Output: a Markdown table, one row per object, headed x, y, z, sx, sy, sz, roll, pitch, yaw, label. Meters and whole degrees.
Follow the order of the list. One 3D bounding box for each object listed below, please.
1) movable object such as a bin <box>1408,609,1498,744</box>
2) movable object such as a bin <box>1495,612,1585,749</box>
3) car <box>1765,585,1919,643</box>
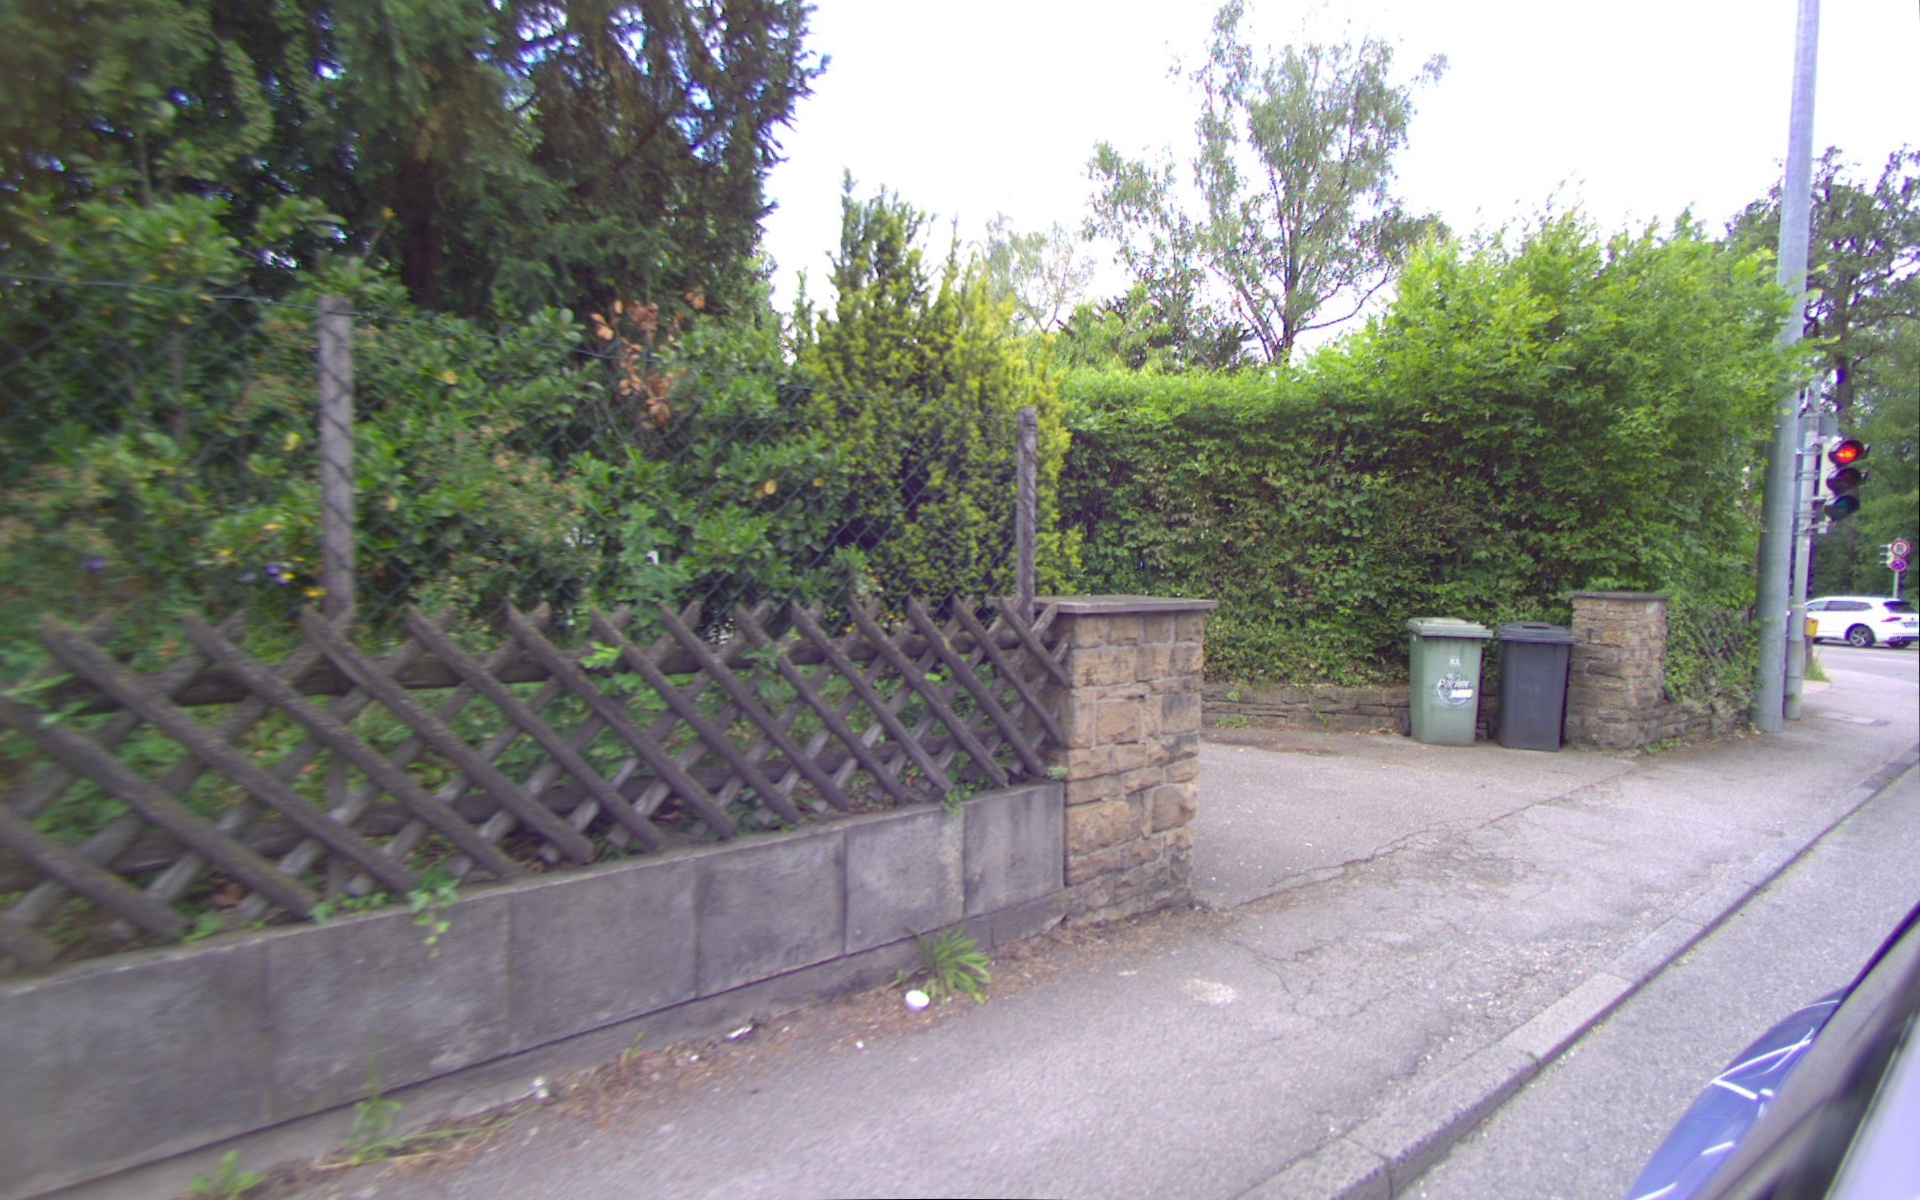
| x | y | z | sx | sy | sz | roll | pitch | yaw | label |
| --- | --- | --- | --- | --- | --- | --- | --- | --- | --- |
| 4.198 | 0.634 | 8.652 | 0.532 | 1.075 | 0.507 | 3 | 1 | 12 | movable object such as a bin |
| 4.886 | 0.661 | 8.551 | 0.534 | 1.058 | 0.505 | 4 | 2 | 23 | movable object such as a bin |
| 30.274 | 0.418 | 34.150 | 1.825 | 1.647 | 4.665 | 2 | 2 | -13 | car |
